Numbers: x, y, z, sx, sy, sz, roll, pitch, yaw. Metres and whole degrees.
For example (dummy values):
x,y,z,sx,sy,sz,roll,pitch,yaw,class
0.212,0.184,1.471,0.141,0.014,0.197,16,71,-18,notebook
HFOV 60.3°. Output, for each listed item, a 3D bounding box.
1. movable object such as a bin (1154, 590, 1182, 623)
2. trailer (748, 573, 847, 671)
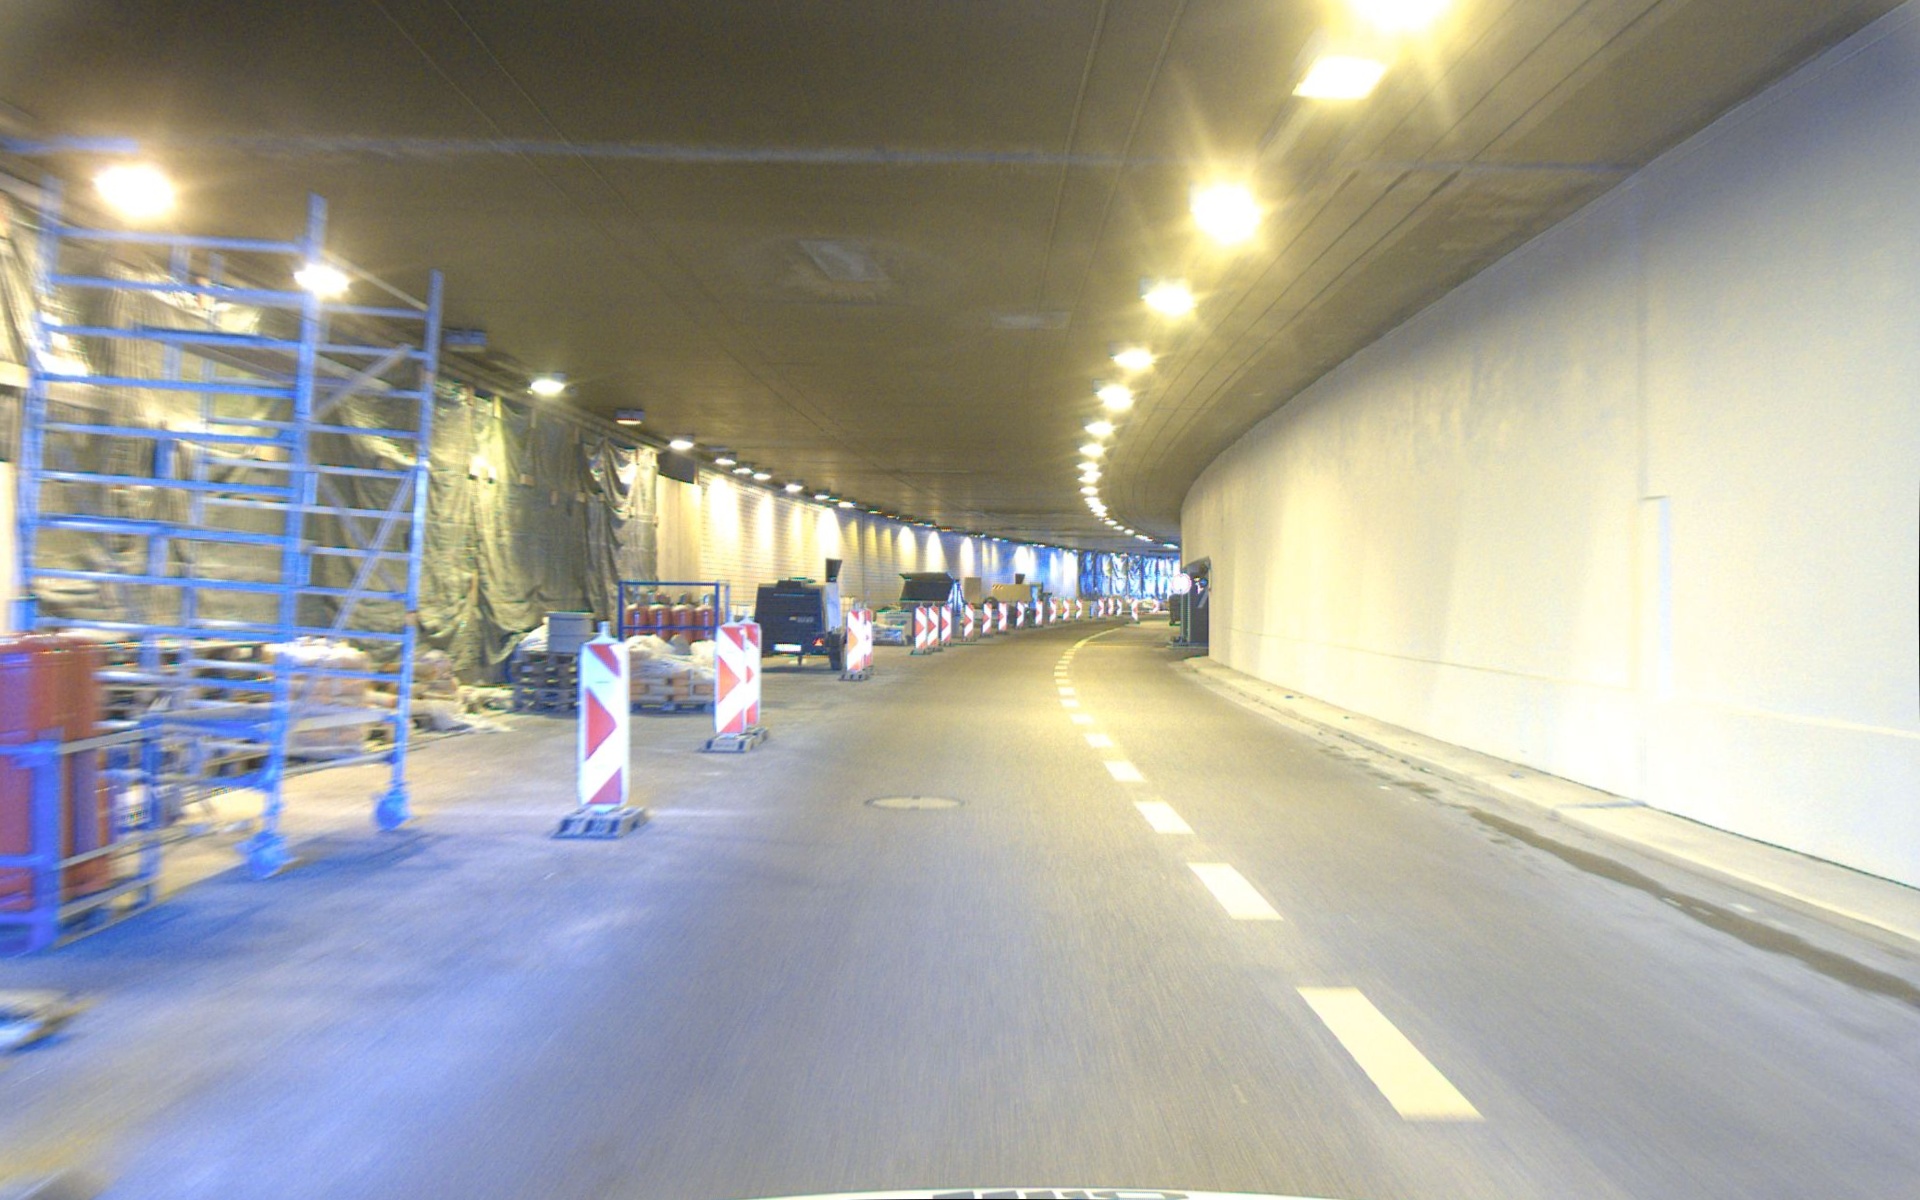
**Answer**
x,y,z,sx,sy,sz,roll,pitch,yaw,class
9.685,0.307,77.011,1.169,1.486,1.606,-2,0,10,movable object such as a bin
-3.168,0.422,32.745,1.548,1.829,2.940,1,0,2,trailer
